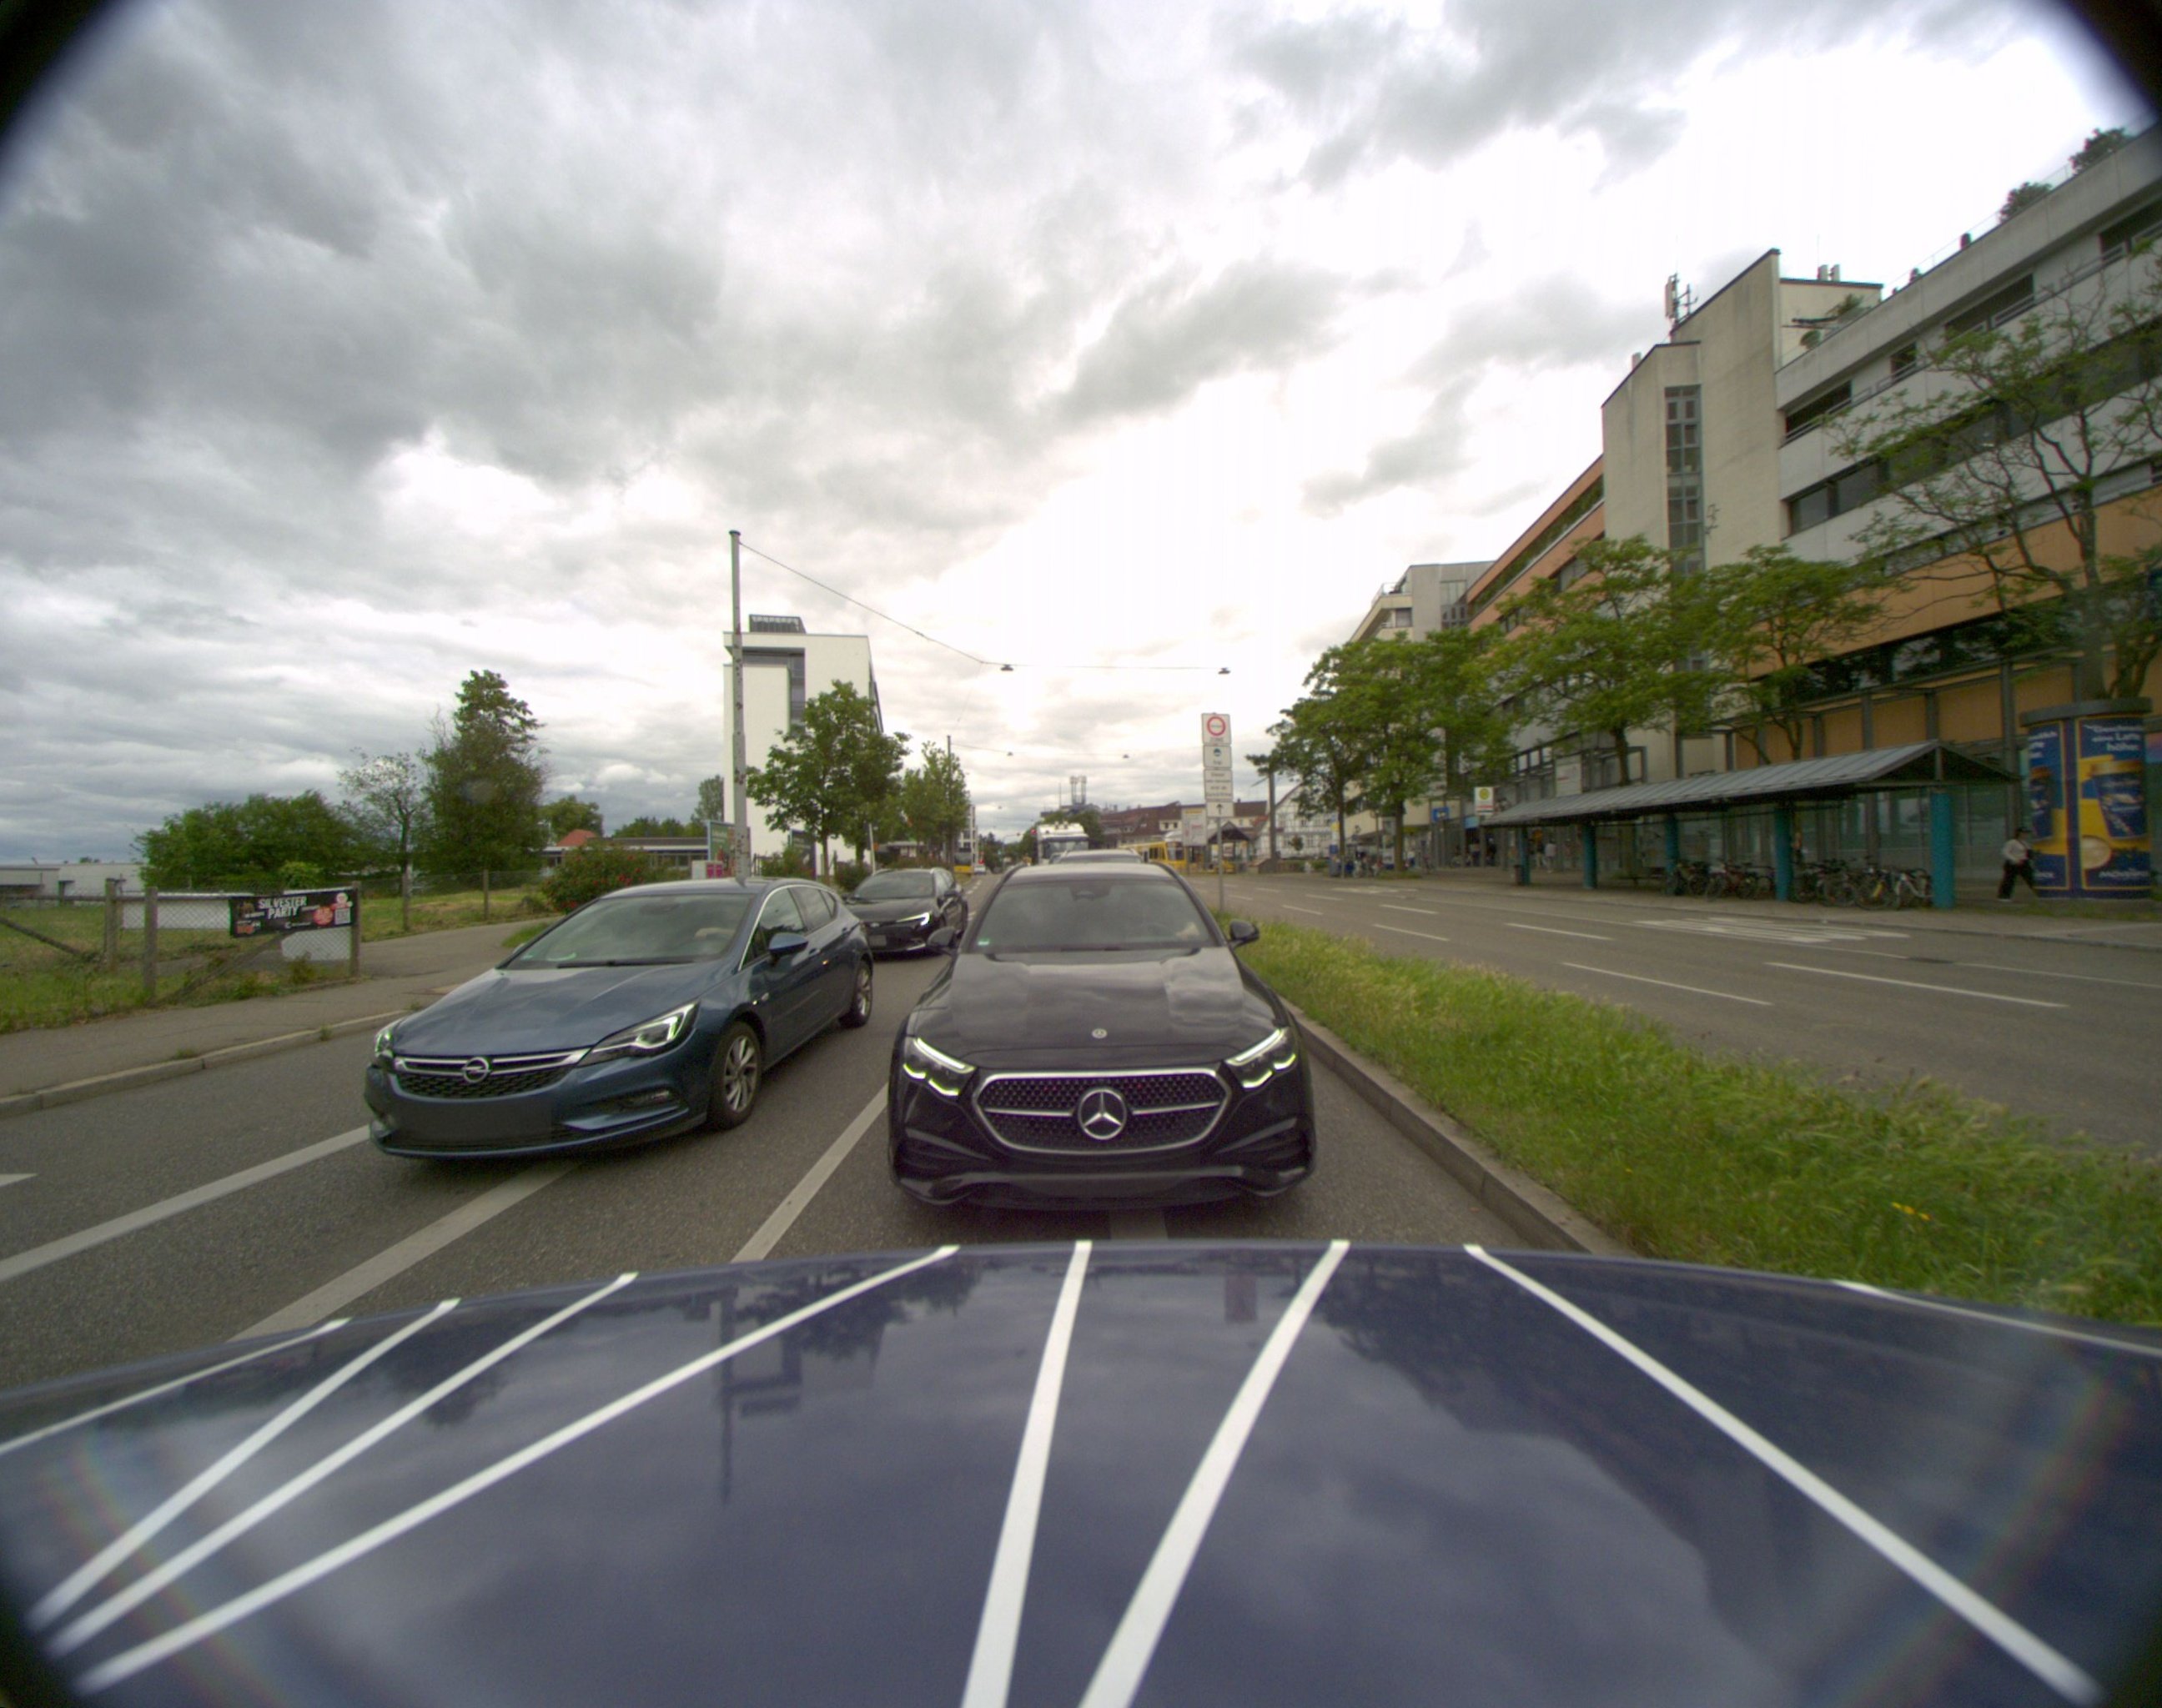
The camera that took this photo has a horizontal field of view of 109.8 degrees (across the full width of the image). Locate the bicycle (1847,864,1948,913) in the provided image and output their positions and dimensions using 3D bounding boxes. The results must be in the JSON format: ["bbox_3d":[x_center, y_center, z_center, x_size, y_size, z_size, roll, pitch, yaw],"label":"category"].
[{"bbox_3d":[18.690,0.782,17.398,1.735,1.035,0.549,-2,1,-2],"label":"bicycle"}]

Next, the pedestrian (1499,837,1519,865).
[{"bbox_3d":[25.377,-0.168,45.070,0.765,1.673,0.752,-1,1,1],"label":"pedestrian"}]

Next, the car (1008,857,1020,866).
[{"bbox_3d":[-12.865,1.417,146.173,1.998,1.674,3.999,-2,1,1],"label":"car"}]

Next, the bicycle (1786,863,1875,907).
[{"bbox_3d":[19.030,0.773,19.309,1.735,1.035,0.549,-2,1,-2],"label":"bicycle"}]

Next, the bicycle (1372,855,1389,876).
[{"bbox_3d":[16.406,0.622,41.646,0.593,1.071,2.041,0,1,29],"label":"bicycle"}]

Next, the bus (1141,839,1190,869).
[{"bbox_3d":[8.703,0.006,79.015,2.556,2.966,8.498,-1,0,-11],"label":"bus"}]

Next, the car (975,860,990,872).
[{"bbox_3d":[-14.499,1.736,111.680,1.853,1.606,3.779,-3,0,-14],"label":"car"}]

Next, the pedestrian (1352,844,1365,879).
[{"bbox_3d":[18.131,0.478,49.671,0.590,2.294,0.608,-1,1,-2],"label":"pedestrian"}]

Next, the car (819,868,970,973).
[{"bbox_3d":[-3.089,1.032,13.397,1.665,1.448,3.921,-2,0,0],"label":"car"}]

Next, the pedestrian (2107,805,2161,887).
[{"bbox_3d":[26.717,-0.205,19.139,0.710,2.002,0.793,-2,1,-10],"label":"pedestrian"}]

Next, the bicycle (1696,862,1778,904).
[{"bbox_3d":[17.953,0.788,20.811,1.735,1.035,0.549,-3,1,-2],"label":"bicycle"}]

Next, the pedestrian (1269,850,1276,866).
[{"bbox_3d":[19.253,0.385,76.376,0.577,1.533,0.583,-1,1,-8],"label":"pedestrian"}]

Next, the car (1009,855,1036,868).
[{"bbox_3d":[-9.893,1.290,129.196,4.142,1.875,1.849,-3,1,-30],"label":"car"}]

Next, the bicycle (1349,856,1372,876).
[{"bbox_3d":[15.483,0.654,42.018,0.593,1.071,2.041,0,1,38],"label":"bicycle"}]

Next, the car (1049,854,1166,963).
[{"bbox_3d":[0.397,0.819,13.483,1.734,1.601,4.000,-2,0,0],"label":"car"}]

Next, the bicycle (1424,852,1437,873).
[{"bbox_3d":[19.491,0.468,42.385,0.593,1.119,2.040,0,1,24],"label":"bicycle"}]

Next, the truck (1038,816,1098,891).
[{"bbox_3d":[-0.768,-0.043,36.806,2.490,3.258,7.428,-1,0,-4],"label":"truck"}]

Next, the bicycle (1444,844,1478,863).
[{"bbox_3d":[27.761,-0.027,55.553,2.138,1.358,0.620,-2,1,26],"label":"bicycle"}]

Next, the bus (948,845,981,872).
[{"bbox_3d":[-12.813,0.393,82.727,2.969,2.616,12.137,-2,1,-11],"label":"bus"}]

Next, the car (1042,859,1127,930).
[{"bbox_3d":[0.049,0.910,18.909,1.865,1.520,3.999,-1,0,-1],"label":"car"}]

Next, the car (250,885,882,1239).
[{"bbox_3d":[-2.908,1.048,5.527,1.826,1.402,4.000,-2,0,0],"label":"car"}]

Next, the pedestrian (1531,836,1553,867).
[{"bbox_3d":[25.363,-0.133,41.778,0.765,1.673,0.752,-1,1,1],"label":"pedestrian"}]

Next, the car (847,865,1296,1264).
[{"bbox_3d":[-0.048,0.883,5.190,1.793,1.507,4.249,-1,0,0],"label":"car"}]

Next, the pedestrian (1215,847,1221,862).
[{"bbox_3d":[18.406,0.126,102.033,0.742,2.002,0.939,-1,1,11],"label":"pedestrian"}]

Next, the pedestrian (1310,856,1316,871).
[{"bbox_3d":[18.669,0.759,61.231,0.341,1.172,0.369,-1,1,-9],"label":"pedestrian"}]

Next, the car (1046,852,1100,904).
[{"bbox_3d":[-0.361,0.835,28.346,1.865,1.773,3.999,-1,0,-2],"label":"car"}]

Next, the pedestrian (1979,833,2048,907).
[{"bbox_3d":[21.257,0.355,17.332,0.678,1.640,0.721,-2,1,-3],"label":"pedestrian"}]

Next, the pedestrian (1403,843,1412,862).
[{"bbox_3d":[25.548,-0.135,59.437,0.555,1.485,0.454,-1,1,8],"label":"pedestrian"}]

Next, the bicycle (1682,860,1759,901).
[{"bbox_3d":[18.288,0.742,21.743,1.735,1.035,0.549,-4,1,-2],"label":"bicycle"}]

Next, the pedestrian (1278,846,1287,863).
[{"bbox_3d":[23.561,0.021,88.852,0.879,2.002,1.010,-1,1,6],"label":"pedestrian"}]

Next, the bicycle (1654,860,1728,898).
[{"bbox_3d":[18.210,0.747,22.704,1.735,1.035,0.549,-3,1,-2],"label":"bicycle"}]

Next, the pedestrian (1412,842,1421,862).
[{"bbox_3d":[26.067,-0.155,59.055,0.555,1.485,0.454,-1,1,8],"label":"pedestrian"}]

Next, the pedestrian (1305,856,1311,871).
[{"bbox_3d":[18.279,0.756,61.142,0.341,1.172,0.369,-1,1,-9],"label":"pedestrian"}]

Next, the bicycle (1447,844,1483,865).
[{"bbox_3d":[26.998,0.030,53.401,2.139,1.367,0.620,-2,1,18],"label":"bicycle"}]

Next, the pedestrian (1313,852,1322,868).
[{"bbox_3d":[22.298,0.576,71.659,0.577,1.533,0.583,-1,1,-8],"label":"pedestrian"}]

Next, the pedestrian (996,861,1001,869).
[{"bbox_3d":[-19.663,2.602,181.223,0.975,2.002,0.991,-2,1,-13],"label":"pedestrian"}]

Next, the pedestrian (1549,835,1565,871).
[{"bbox_3d":[24.103,-0.049,38.489,0.648,1.799,0.761,0,1,34],"label":"pedestrian"}]

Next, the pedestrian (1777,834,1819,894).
[{"bbox_3d":[21.738,0.294,23.046,0.531,1.776,0.770,-1,1,-7],"label":"pedestrian"}]

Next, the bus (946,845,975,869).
[{"bbox_3d":[-15.219,0.349,95.050,2.969,2.616,12.911,-2,1,-11],"label":"bus"}]

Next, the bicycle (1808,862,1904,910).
[{"bbox_3d":[18.631,0.750,18.284,1.735,1.035,0.549,-3,1,-2],"label":"bicycle"}]

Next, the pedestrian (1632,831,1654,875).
[{"bbox_3d":[25.602,-0.057,34.638,0.566,2.002,0.611,-1,1,6],"label":"pedestrian"}]

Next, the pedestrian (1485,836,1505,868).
[{"bbox_3d":[24.401,-0.123,44.828,0.765,1.835,0.752,-1,1,1],"label":"pedestrian"}]

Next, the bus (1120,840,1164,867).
[{"bbox_3d":[6.938,-0.045,87.951,2.556,2.966,9.790,-1,0,-11],"label":"bus"}]

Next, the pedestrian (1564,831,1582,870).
[{"bbox_3d":[25.479,-0.165,39.333,0.566,2.002,0.611,-1,1,6],"label":"pedestrian"}]
